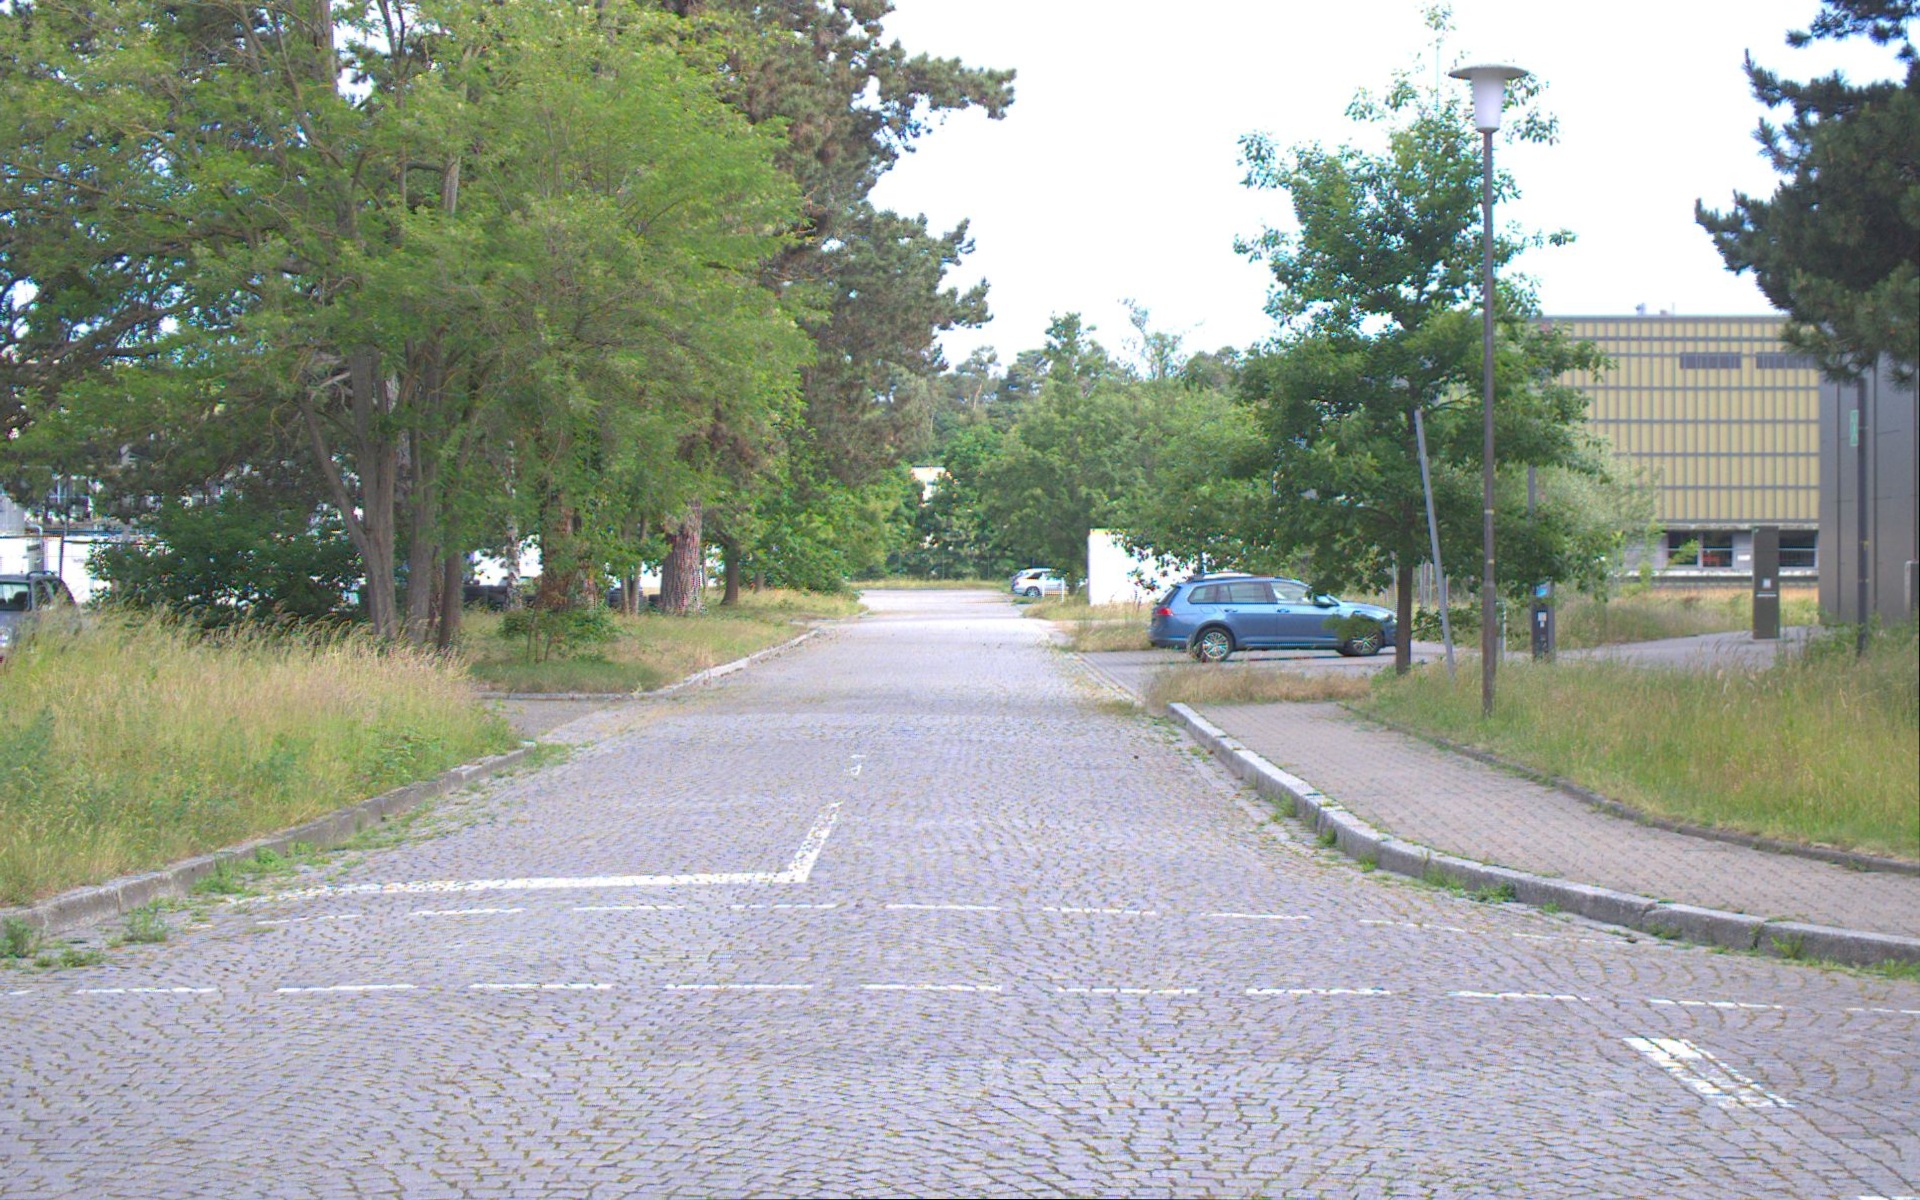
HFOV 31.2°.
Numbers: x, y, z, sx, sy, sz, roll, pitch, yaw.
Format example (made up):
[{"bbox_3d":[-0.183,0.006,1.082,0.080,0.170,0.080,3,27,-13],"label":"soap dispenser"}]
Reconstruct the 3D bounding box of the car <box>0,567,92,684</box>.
[{"bbox_3d":[-12.998,0.305,46.301,1.613,1.482,4.000,0,1,0],"label":"car"}]

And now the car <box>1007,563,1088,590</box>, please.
[{"bbox_3d":[4.503,-1.202,178.009,3.986,1.393,2.000,0,1,-5],"label":"car"}]

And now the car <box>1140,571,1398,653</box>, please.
[{"bbox_3d":[5.437,0.194,60.925,4.344,1.417,2.000,0,1,-2],"label":"car"}]
